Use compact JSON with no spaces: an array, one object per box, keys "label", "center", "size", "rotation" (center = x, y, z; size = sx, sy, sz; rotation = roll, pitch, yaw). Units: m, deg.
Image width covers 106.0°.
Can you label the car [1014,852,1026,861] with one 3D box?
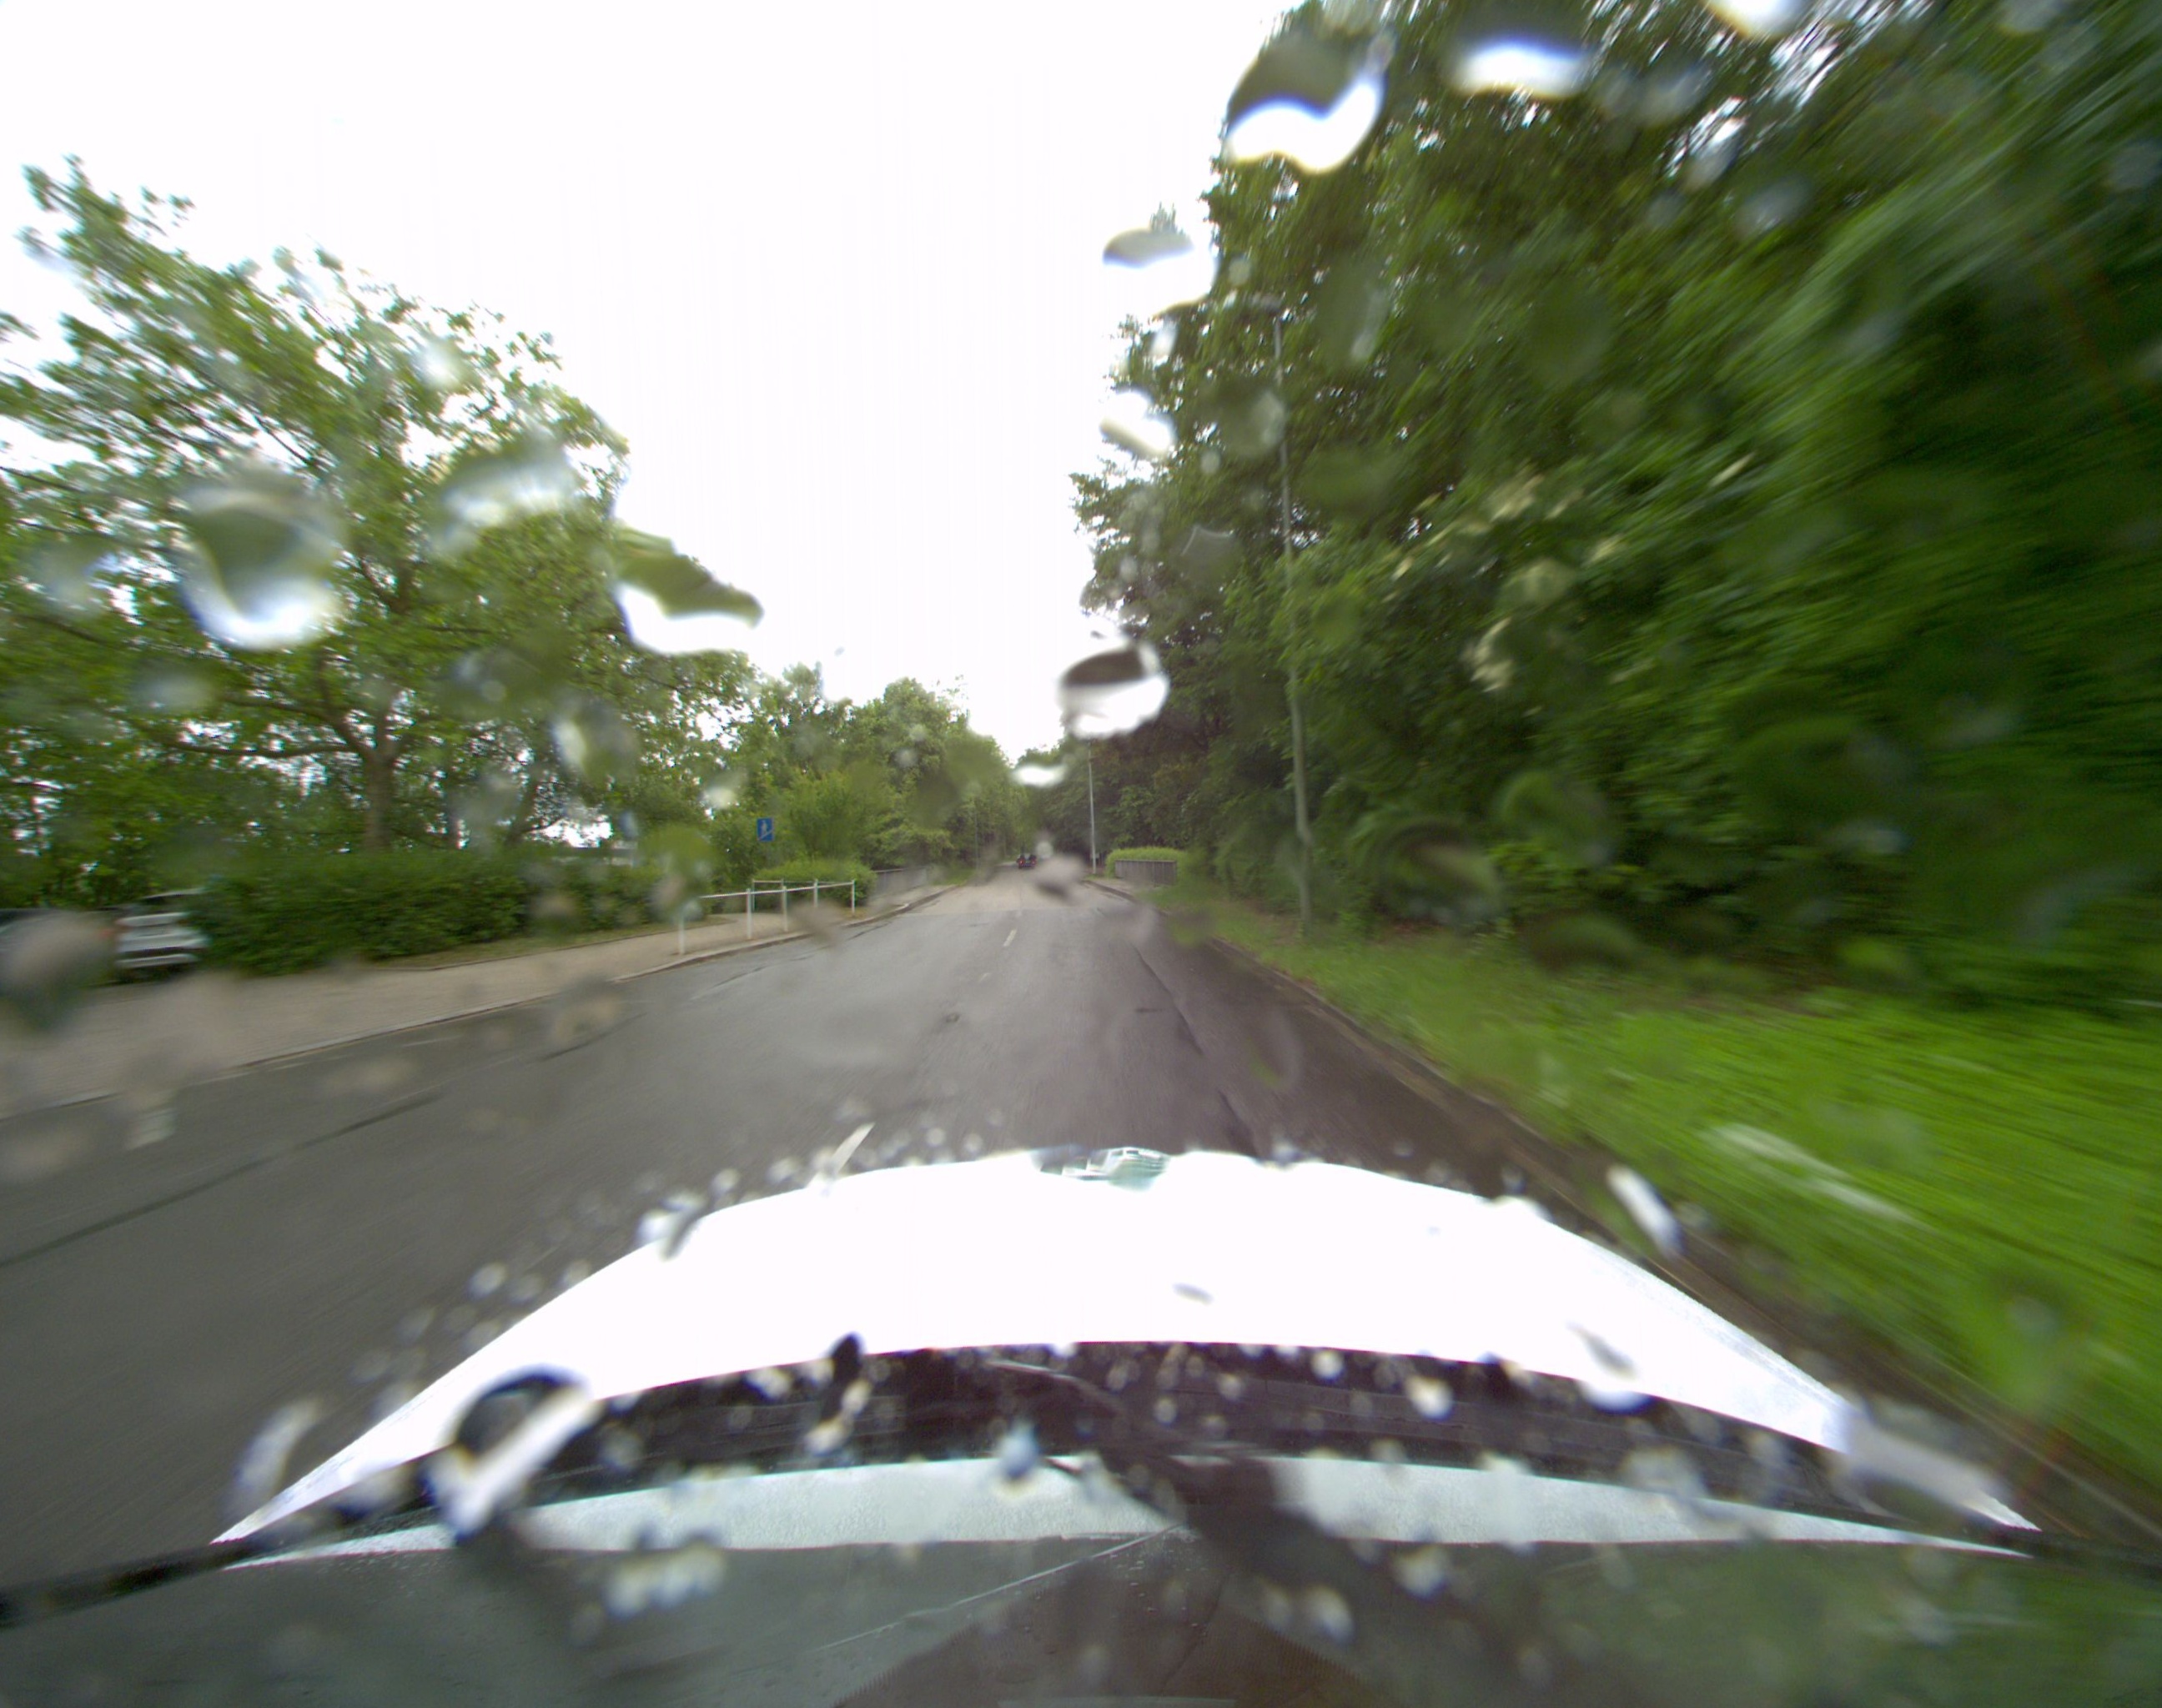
[{"label":"car","center":[-11.645,0.472,155.037],"size":[1.992,1.816,3.989],"rotation":[-1,0,-8]}]

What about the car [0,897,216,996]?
[{"label":"car","center":[-19.805,1.793,15.674],"size":[1.787,1.510,4.004],"rotation":[-5,0,3]}]

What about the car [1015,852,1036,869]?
[{"label":"car","center":[-6.624,0.801,96.788],"size":[1.987,1.925,3.983],"rotation":[-2,0,-12]}]

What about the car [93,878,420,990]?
[{"label":"car","center":[-15.007,1.355,15.211],"size":[1.787,1.510,4.004],"rotation":[-5,0,3]}]

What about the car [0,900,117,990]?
[{"label":"car","center":[-22.052,1.927,15.756],"size":[1.787,1.643,4.004],"rotation":[-5,0,3]}]

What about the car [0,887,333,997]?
[{"label":"car","center":[-17.403,1.571,15.806],"size":[1.787,1.510,4.004],"rotation":[-5,0,3]}]
